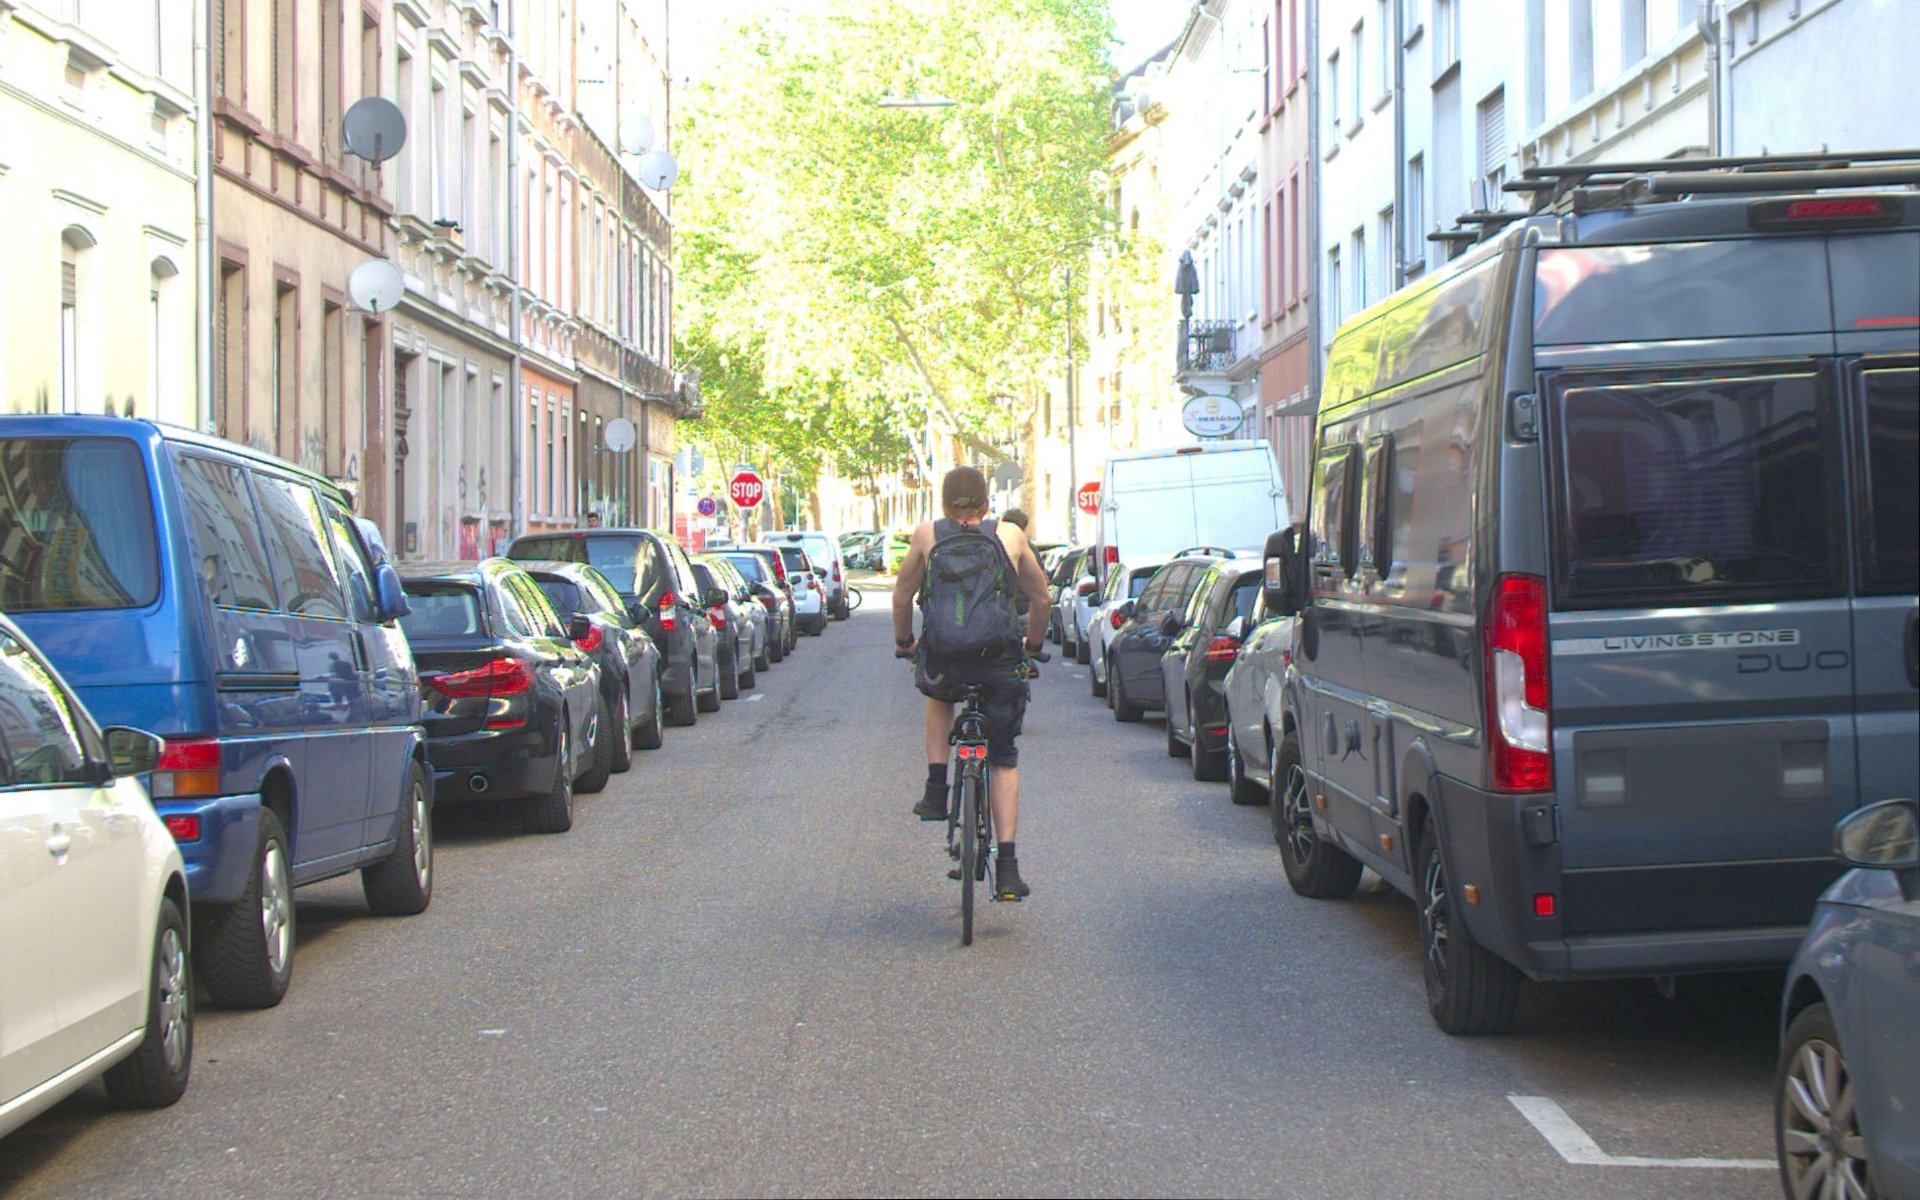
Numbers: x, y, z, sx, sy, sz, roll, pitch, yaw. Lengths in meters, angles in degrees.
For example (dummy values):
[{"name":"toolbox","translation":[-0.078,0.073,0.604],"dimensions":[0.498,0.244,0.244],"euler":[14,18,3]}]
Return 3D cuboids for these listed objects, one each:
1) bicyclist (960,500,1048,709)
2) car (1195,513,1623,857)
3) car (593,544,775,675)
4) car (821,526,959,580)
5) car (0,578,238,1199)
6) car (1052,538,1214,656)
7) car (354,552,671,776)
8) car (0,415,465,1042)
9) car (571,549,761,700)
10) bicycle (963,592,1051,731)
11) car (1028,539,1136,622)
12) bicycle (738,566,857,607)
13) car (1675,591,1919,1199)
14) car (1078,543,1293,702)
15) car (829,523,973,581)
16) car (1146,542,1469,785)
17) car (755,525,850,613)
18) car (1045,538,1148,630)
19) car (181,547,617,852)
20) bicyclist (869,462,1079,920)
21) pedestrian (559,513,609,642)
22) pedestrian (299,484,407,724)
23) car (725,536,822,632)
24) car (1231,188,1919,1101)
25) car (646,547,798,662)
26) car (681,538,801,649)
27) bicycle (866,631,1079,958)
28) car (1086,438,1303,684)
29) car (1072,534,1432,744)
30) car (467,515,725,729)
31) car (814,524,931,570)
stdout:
[{"name":"bicyclist","translation":[0.352,0.030,27.746],"dimensions":[0.669,1.653,0.877],"euler":[-1,1,0]},{"name":"car","translation":[2.334,0.372,18.902],"dimensions":[1.693,1.602,4.375],"euler":[-2,1,0]},{"name":"car","translation":[-3.206,0.073,40.519],"dimensions":[1.674,1.425,3.888],"euler":[-1,1,2]},{"name":"car","translation":[-2.354,-1.575,114.370],"dimensions":[4.468,1.690,1.867],"euler":[-1,1,-4]},{"name":"car","translation":[-2.918,0.705,8.256],"dimensions":[1.645,1.442,3.840],"euler":[-1,1,-2]},{"name":"car","translation":[2.236,-0.075,45.460],"dimensions":[1.731,1.465,4.022],"euler":[-1,1,-3]},{"name":"car","translation":[-3.110,0.395,24.606],"dimensions":[1.736,1.422,4.000],"euler":[-1,1,0]},{"name":"car","translation":[-3.143,0.378,12.848],"dimensions":[1.827,1.885,4.614],"euler":[-3,1,0]},{"name":"car","translation":[-2.987,0.218,35.543],"dimensions":[1.592,1.435,3.654],"euler":[-1,1,1]},{"name":"bicycle","translation":[0.370,0.478,27.809],"dimensions":[0.664,1.034,1.959],"euler":[-1,1,0]},{"name":"car","translation":[2.233,-0.383,63.714],"dimensions":[1.710,1.465,4.000],"euler":[-1,1,-2]},{"name":"bicycle","translation":[-3.770,-0.317,79.776],"dimensions":[2.715,0.889,0.619],"euler":[-1,1,-2]},{"name":"car","translation":[2.582,0.739,6.102],"dimensions":[1.747,1.439,4.172],"euler":[0,1,0]},{"name":"car","translation":[2.139,0.177,33.490],"dimensions":[1.725,1.424,3.833],"euler":[-1,1,-1]},{"name":"car","translation":[-1.896,-1.520,109.338],"dimensions":[4.468,1.753,1.867],"euler":[-1,1,-4]},{"name":"car","translation":[2.291,0.361,23.654],"dimensions":[1.746,1.480,4.243],"euler":[-1,1,0]},{"name":"car","translation":[-3.183,-0.655,70.111],"dimensions":[1.787,1.731,3.876],"euler":[-1,1,-1]},{"name":"car","translation":[2.288,-0.299,58.256],"dimensions":[1.592,1.487,3.876],"euler":[-1,1,0]},{"name":"car","translation":[-3.037,0.464,19.544],"dimensions":[1.862,1.435,4.646],"euler":[-1,2,-2]},{"name":"bicyclist","translation":[0.045,0.325,13.195],"dimensions":[0.740,1.673,1.117],"euler":[1,1,-1]},{"name":"pedestrian","translation":[-5.509,-0.333,50.421],"dimensions":[0.610,1.851,0.754],"euler":[2,1,-1]},{"name":"pedestrian","translation":[-4.692,0.027,26.589],"dimensions":[0.651,1.811,0.754],"euler":[2,1,0]},{"name":"car","translation":[-3.143,-0.287,57.912],"dimensions":[1.544,1.545,3.466],"euler":[-1,1,-3]},{"name":"car","translation":[2.385,0.046,12.416],"dimensions":[2.175,2.417,6.310],"euler":[-2,1,-1]},{"name":"car","translation":[-3.109,0.019,45.579],"dimensions":[1.706,1.409,4.302],"euler":[-1,1,0]},{"name":"car","translation":[-3.187,-0.129,50.538],"dimensions":[1.604,1.525,3.379],"euler":[-2,1,-2]},{"name":"bicycle","translation":[0.034,0.703,13.282],"dimensions":[0.740,1.097,2.042],"euler":[1,1,-1]},{"name":"car","translation":[2.560,-0.468,38.921],"dimensions":[2.204,2.542,6.036],"euler":[-1,1,2]},{"name":"car","translation":[2.323,0.249,28.644],"dimensions":[1.811,1.473,4.609],"euler":[-4,2,-9]},{"name":"car","translation":[-3.160,0.151,30.563],"dimensions":[1.801,1.692,4.000],"euler":[-3,1,0]},{"name":"car","translation":[-3.430,-2.085,134.596],"dimensions":[4.468,1.690,1.867],"euler":[-1,1,-4]}]
